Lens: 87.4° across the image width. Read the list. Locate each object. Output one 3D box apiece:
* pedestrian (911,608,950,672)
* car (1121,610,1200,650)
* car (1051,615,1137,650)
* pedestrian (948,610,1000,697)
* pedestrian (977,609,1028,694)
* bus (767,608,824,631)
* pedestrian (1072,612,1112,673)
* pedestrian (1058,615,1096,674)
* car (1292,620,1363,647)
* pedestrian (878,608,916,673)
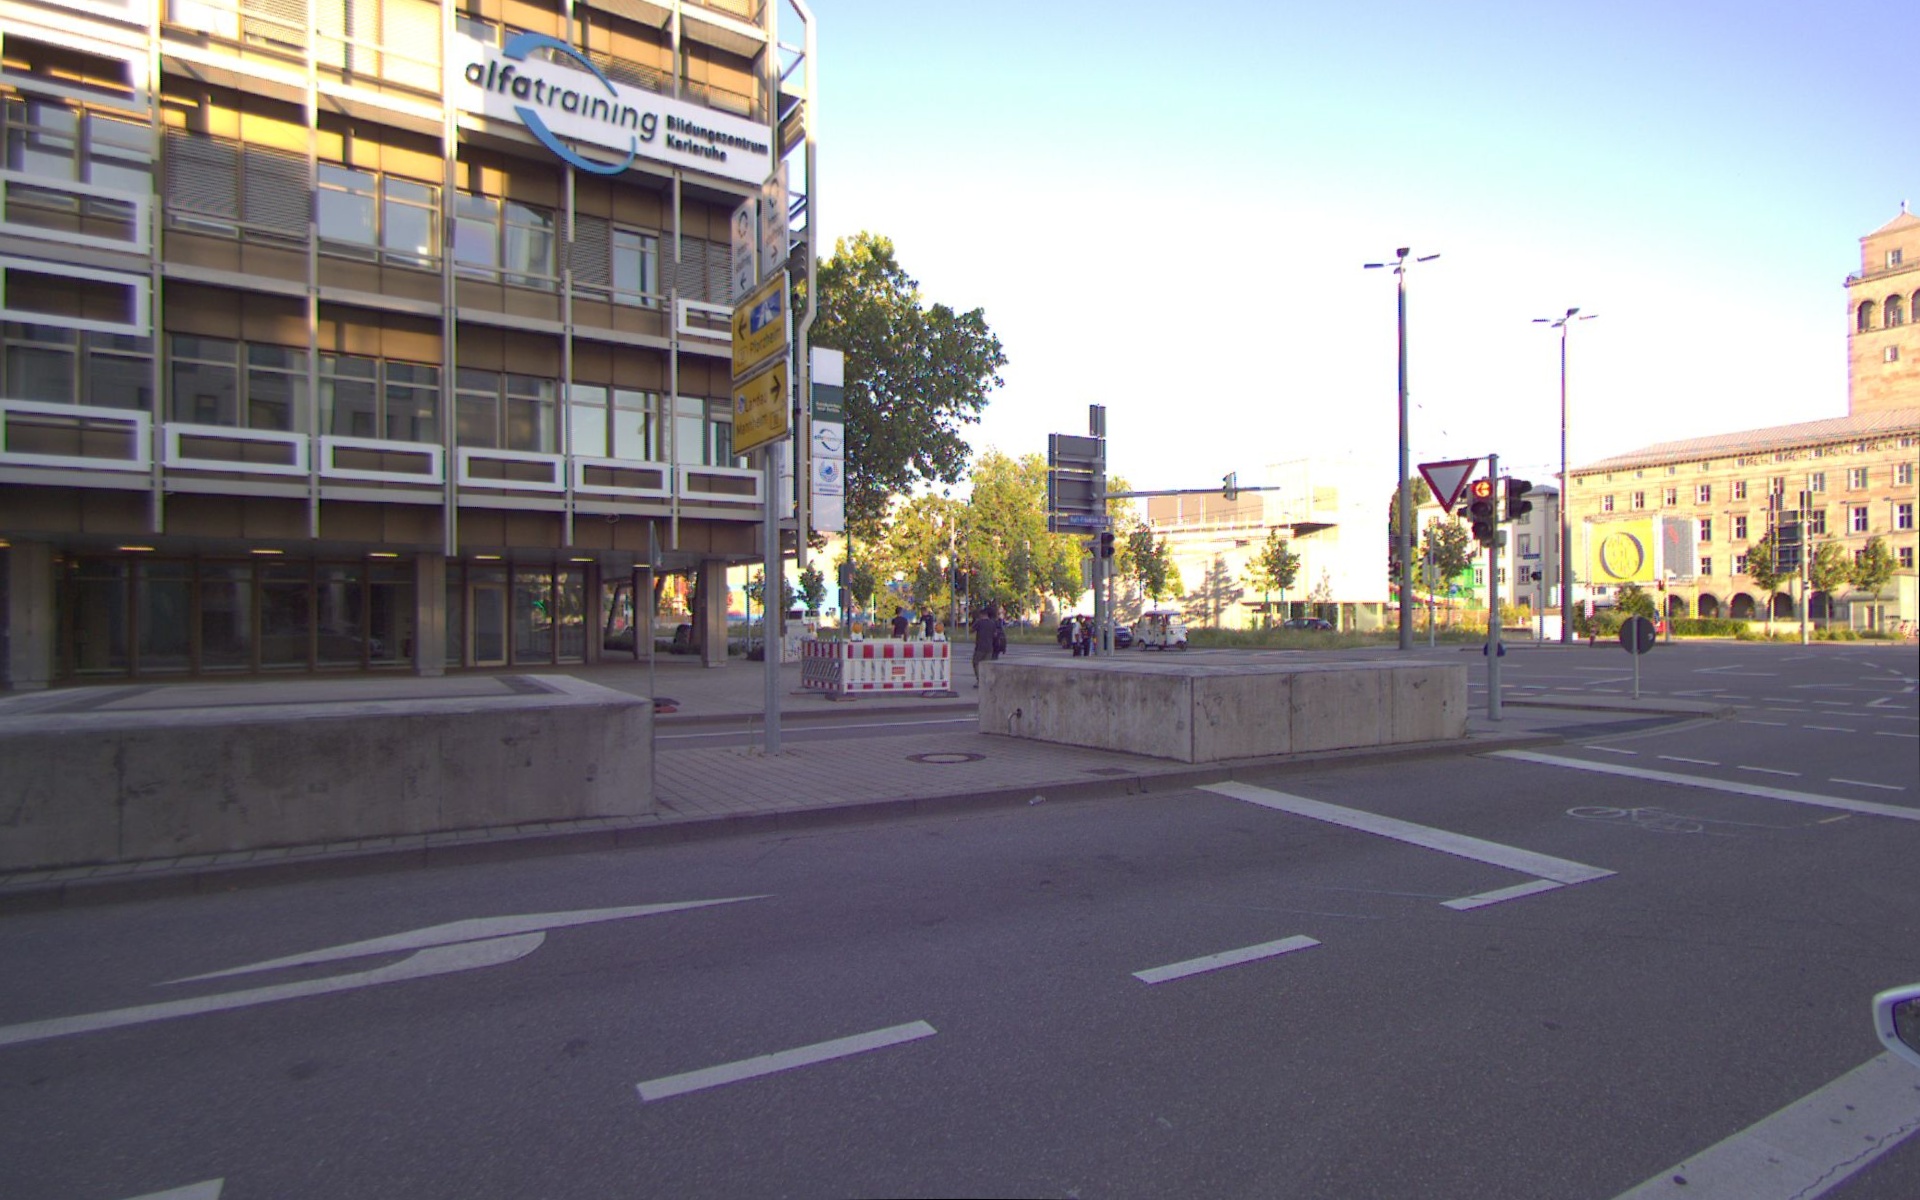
[{"bbox_3d":[-0.854,1.151,28.910,0.853,1.800,0.735,0,-3,-30],"label":"pedestrian"},{"bbox_3d":[8.875,1.325,44.501,1.600,1.707,3.102,0,-1,-43],"label":"car"},{"bbox_3d":[6.415,1.534,48.299,1.681,1.613,4.150,0,-1,-37],"label":"car"},{"bbox_3d":[0.304,1.111,21.378,0.853,1.800,0.735,0,0,-30],"label":"pedestrian"},{"bbox_3d":[0.937,1.110,22.045,0.855,1.800,0.733,0,0,-35],"label":"pedestrian"},{"bbox_3d":[-21.600,2.575,131.169,3.188,2.948,10.423,0,-1,-35],"label":"bus"},{"bbox_3d":[3.989,1.285,30.366,0.736,1.800,0.852,1,-4,-45],"label":"pedestrian"},{"bbox_3d":[3.621,1.386,31.116,0.851,1.800,0.737,-4,-4,40],"label":"pedestrian"},{"bbox_3d":[21.452,1.948,58.756,1.530,1.472,3.689,0,-1,-35],"label":"car"},{"bbox_3d":[-1.797,1.150,28.529,0.851,1.800,0.737,0,-3,-24],"label":"pedestrian"}]
